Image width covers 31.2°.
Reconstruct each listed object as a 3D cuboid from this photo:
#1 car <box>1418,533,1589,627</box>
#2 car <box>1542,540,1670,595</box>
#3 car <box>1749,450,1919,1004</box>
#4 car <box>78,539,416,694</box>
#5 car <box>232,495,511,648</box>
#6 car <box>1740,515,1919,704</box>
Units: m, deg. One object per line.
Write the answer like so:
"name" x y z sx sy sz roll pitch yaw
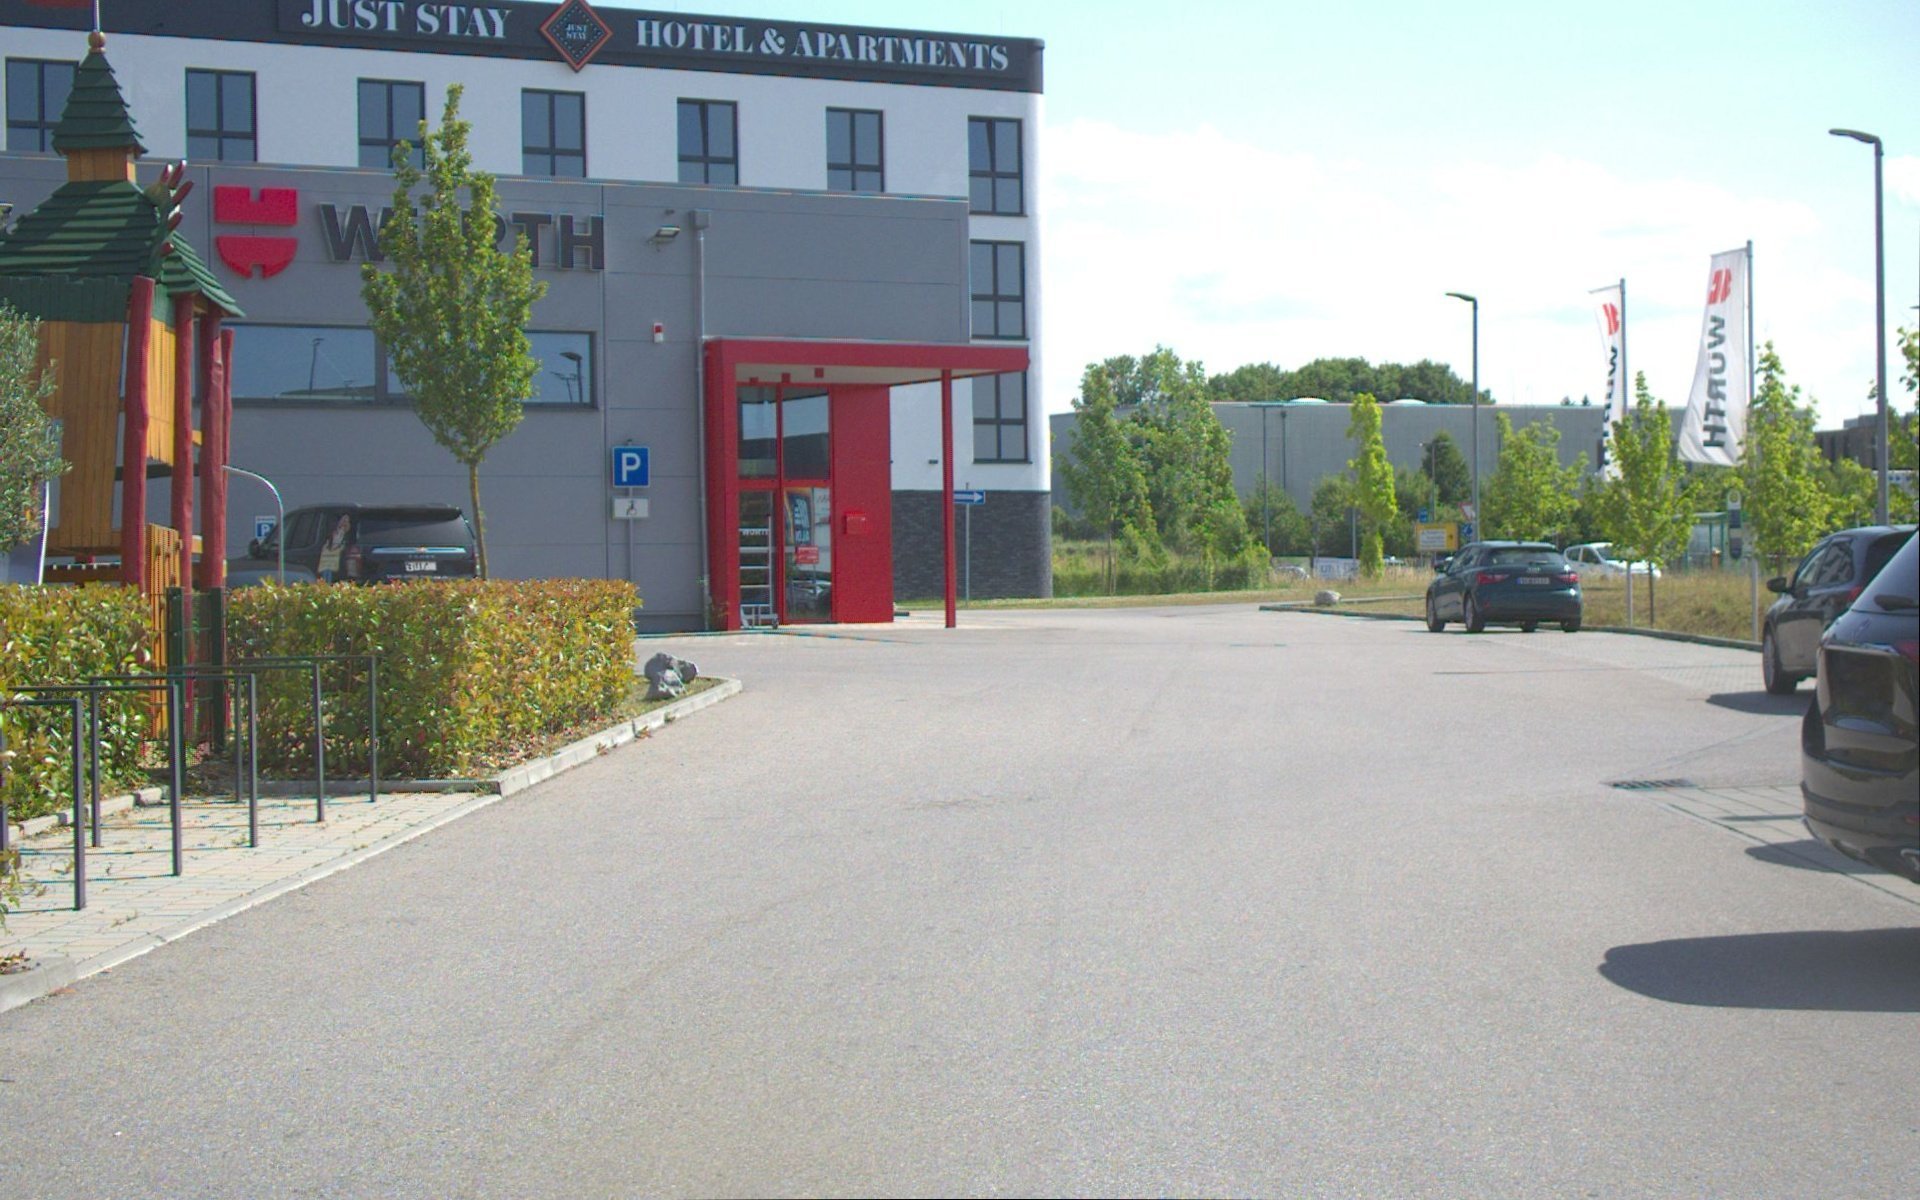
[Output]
"car" 8.460 -0.336 53.781 1.698 1.401 3.898 0 1 -6
"car" 18.297 -0.934 97.550 1.872 1.478 4.001 -1 2 -18
"car" 5.263 0.397 11.915 4.574 1.754 1.896 0 1 -2
"car" -6.984 0.106 33.356 1.862 1.358 4.377 -1 2 -31
"car" -7.748 -0.408 44.902 2.071 1.874 4.879 -1 2 -29
"car" 8.063 0.023 29.505 1.836 1.472 4.120 -2 1 1
